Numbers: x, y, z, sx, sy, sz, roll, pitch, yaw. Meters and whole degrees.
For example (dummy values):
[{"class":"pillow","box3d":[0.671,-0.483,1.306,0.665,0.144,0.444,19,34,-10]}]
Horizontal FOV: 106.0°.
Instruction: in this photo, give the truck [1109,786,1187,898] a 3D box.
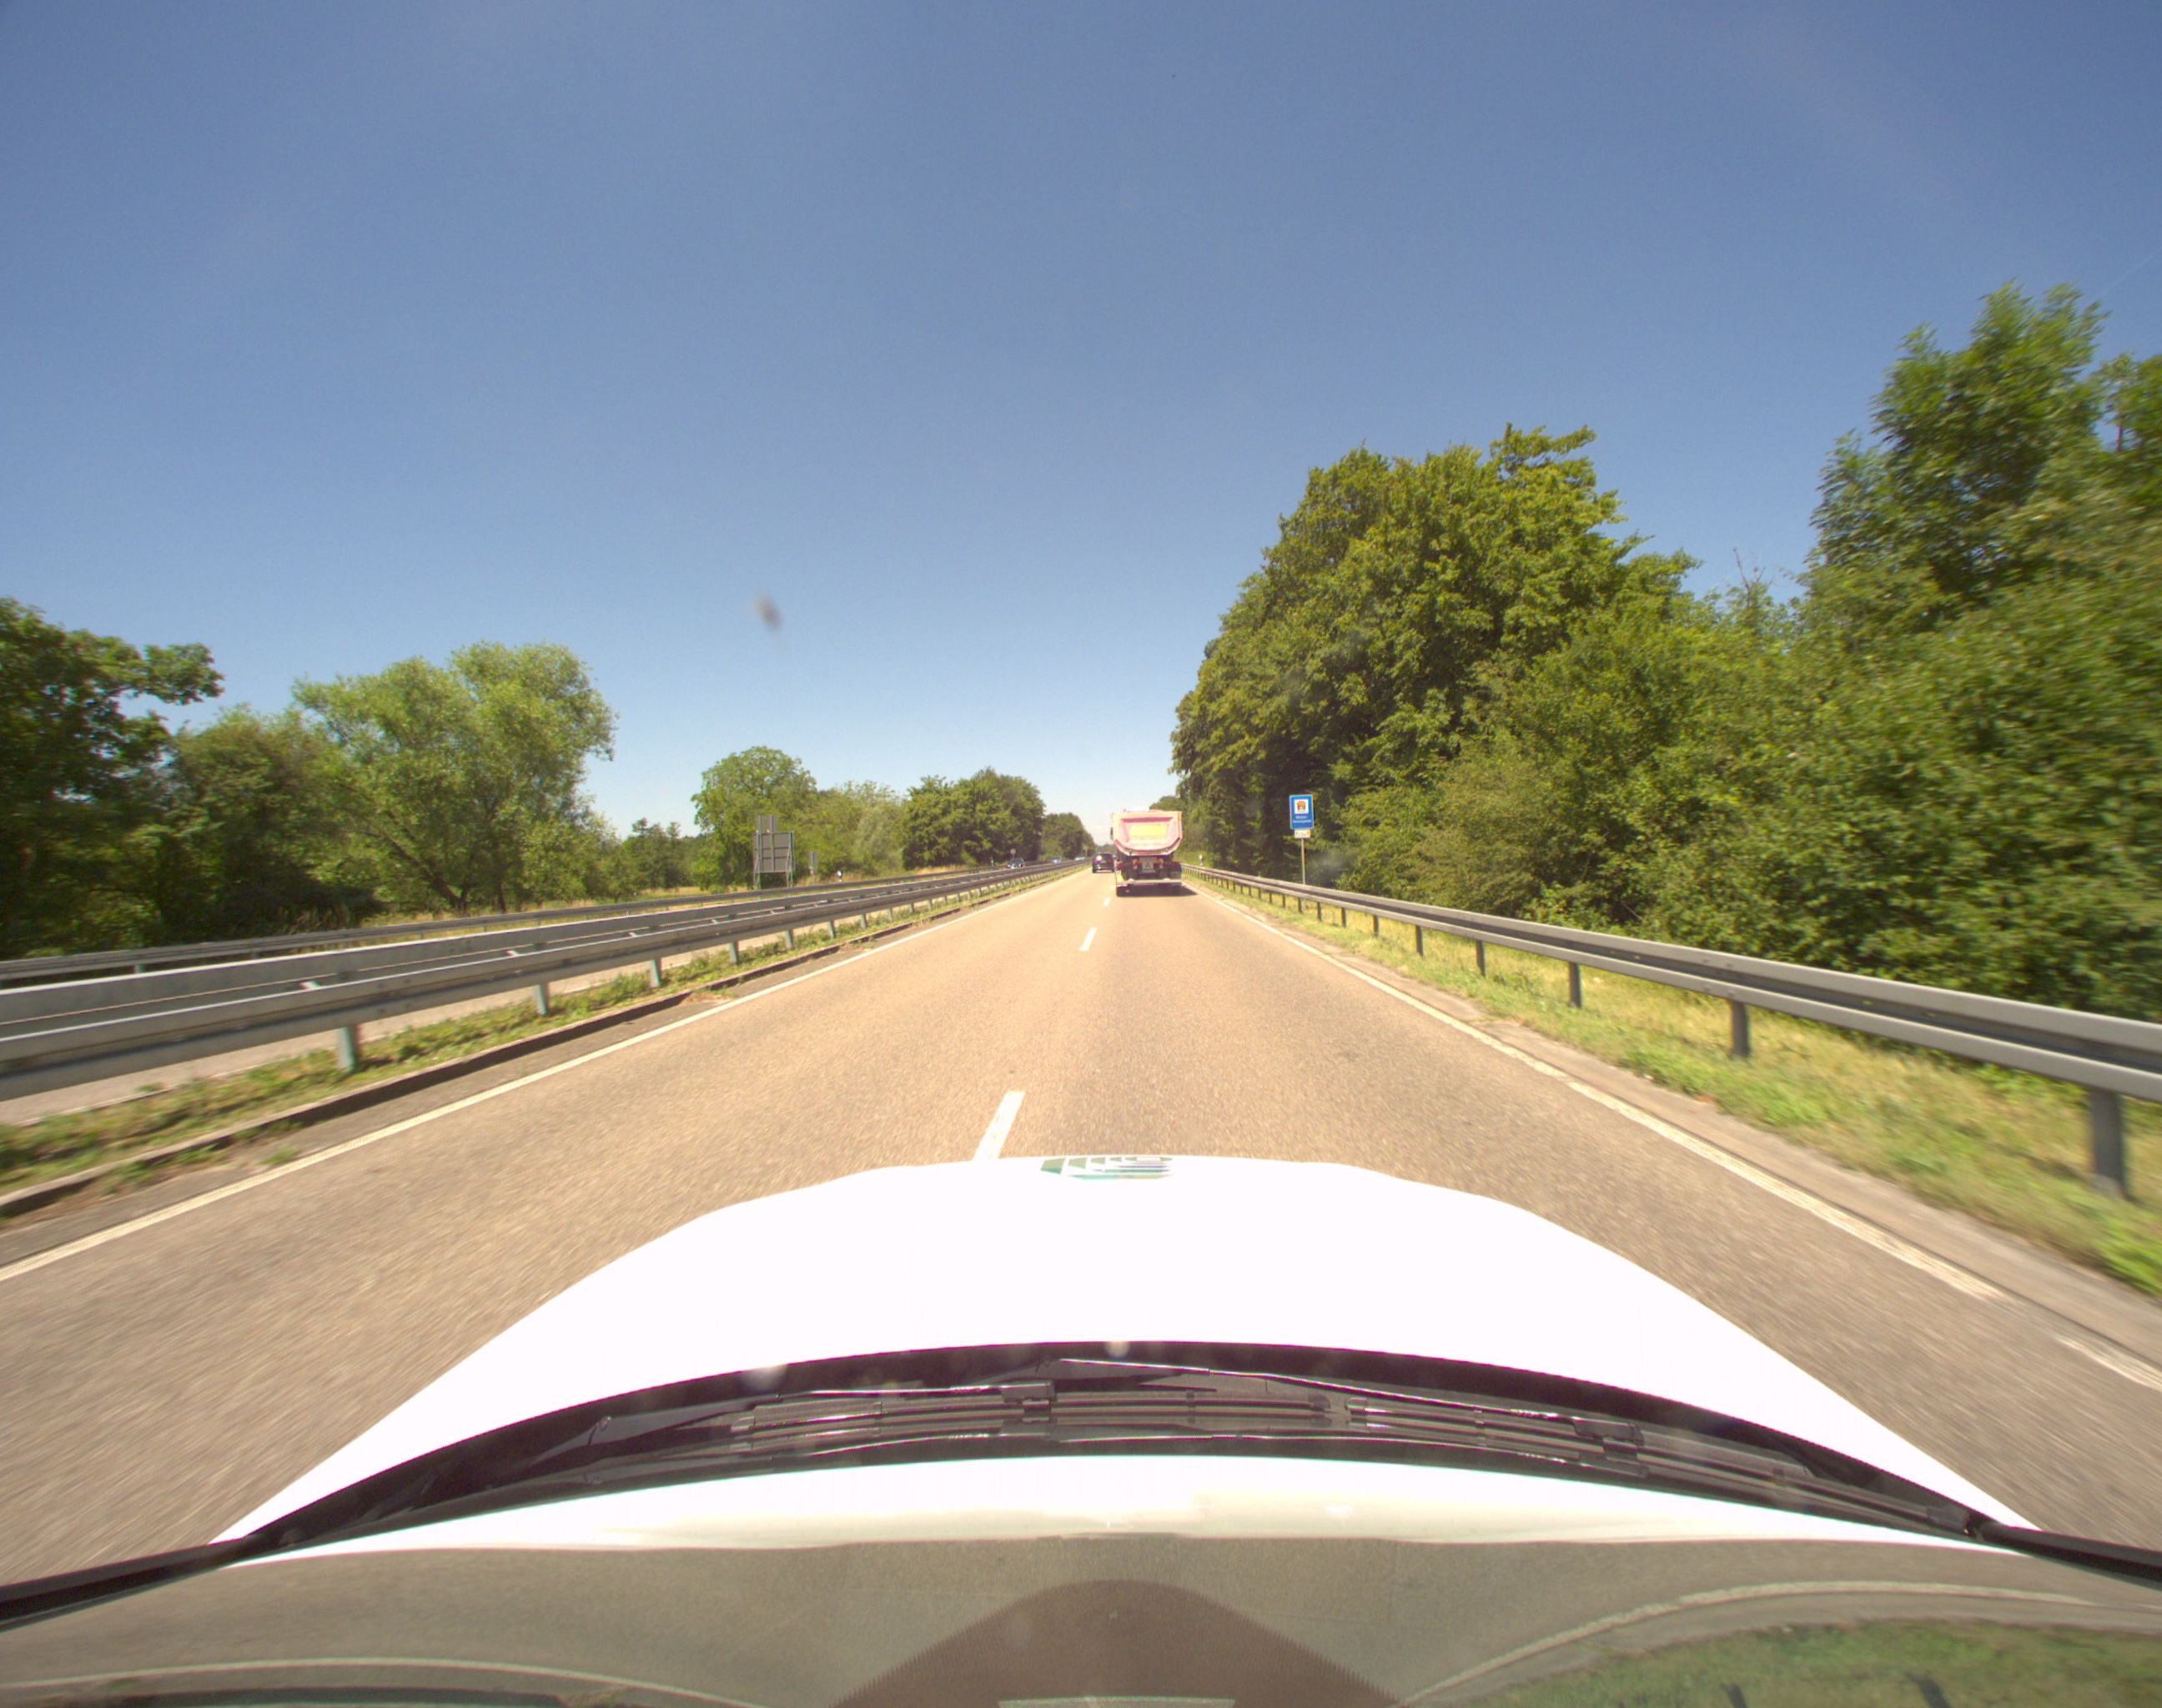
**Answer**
[{"class":"truck","box3d":[2.673,-0.410,35.250,2.709,3.930,12.377,-1,0,3]}]

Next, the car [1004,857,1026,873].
[{"class":"car","box3d":[-7.653,1.263,95.298,1.771,1.620,4.511,-4,0,4]}]

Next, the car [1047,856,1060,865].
[{"class":"car","box3d":[-4.914,1.208,147.173,1.804,1.543,4.933,-3,0,3]}]

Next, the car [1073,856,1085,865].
[{"class":"car","box3d":[-0.396,1.300,161.125,1.984,1.632,4.559,-3,0,5]}]

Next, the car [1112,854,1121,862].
[{"class":"car","box3d":[7.909,0.868,182.095,1.850,1.718,4.002,-1,-2,2]}]

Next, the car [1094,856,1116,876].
[{"class":"car","box3d":[2.127,1.077,70.812,1.850,1.671,4.002,-1,-2,2]}]
